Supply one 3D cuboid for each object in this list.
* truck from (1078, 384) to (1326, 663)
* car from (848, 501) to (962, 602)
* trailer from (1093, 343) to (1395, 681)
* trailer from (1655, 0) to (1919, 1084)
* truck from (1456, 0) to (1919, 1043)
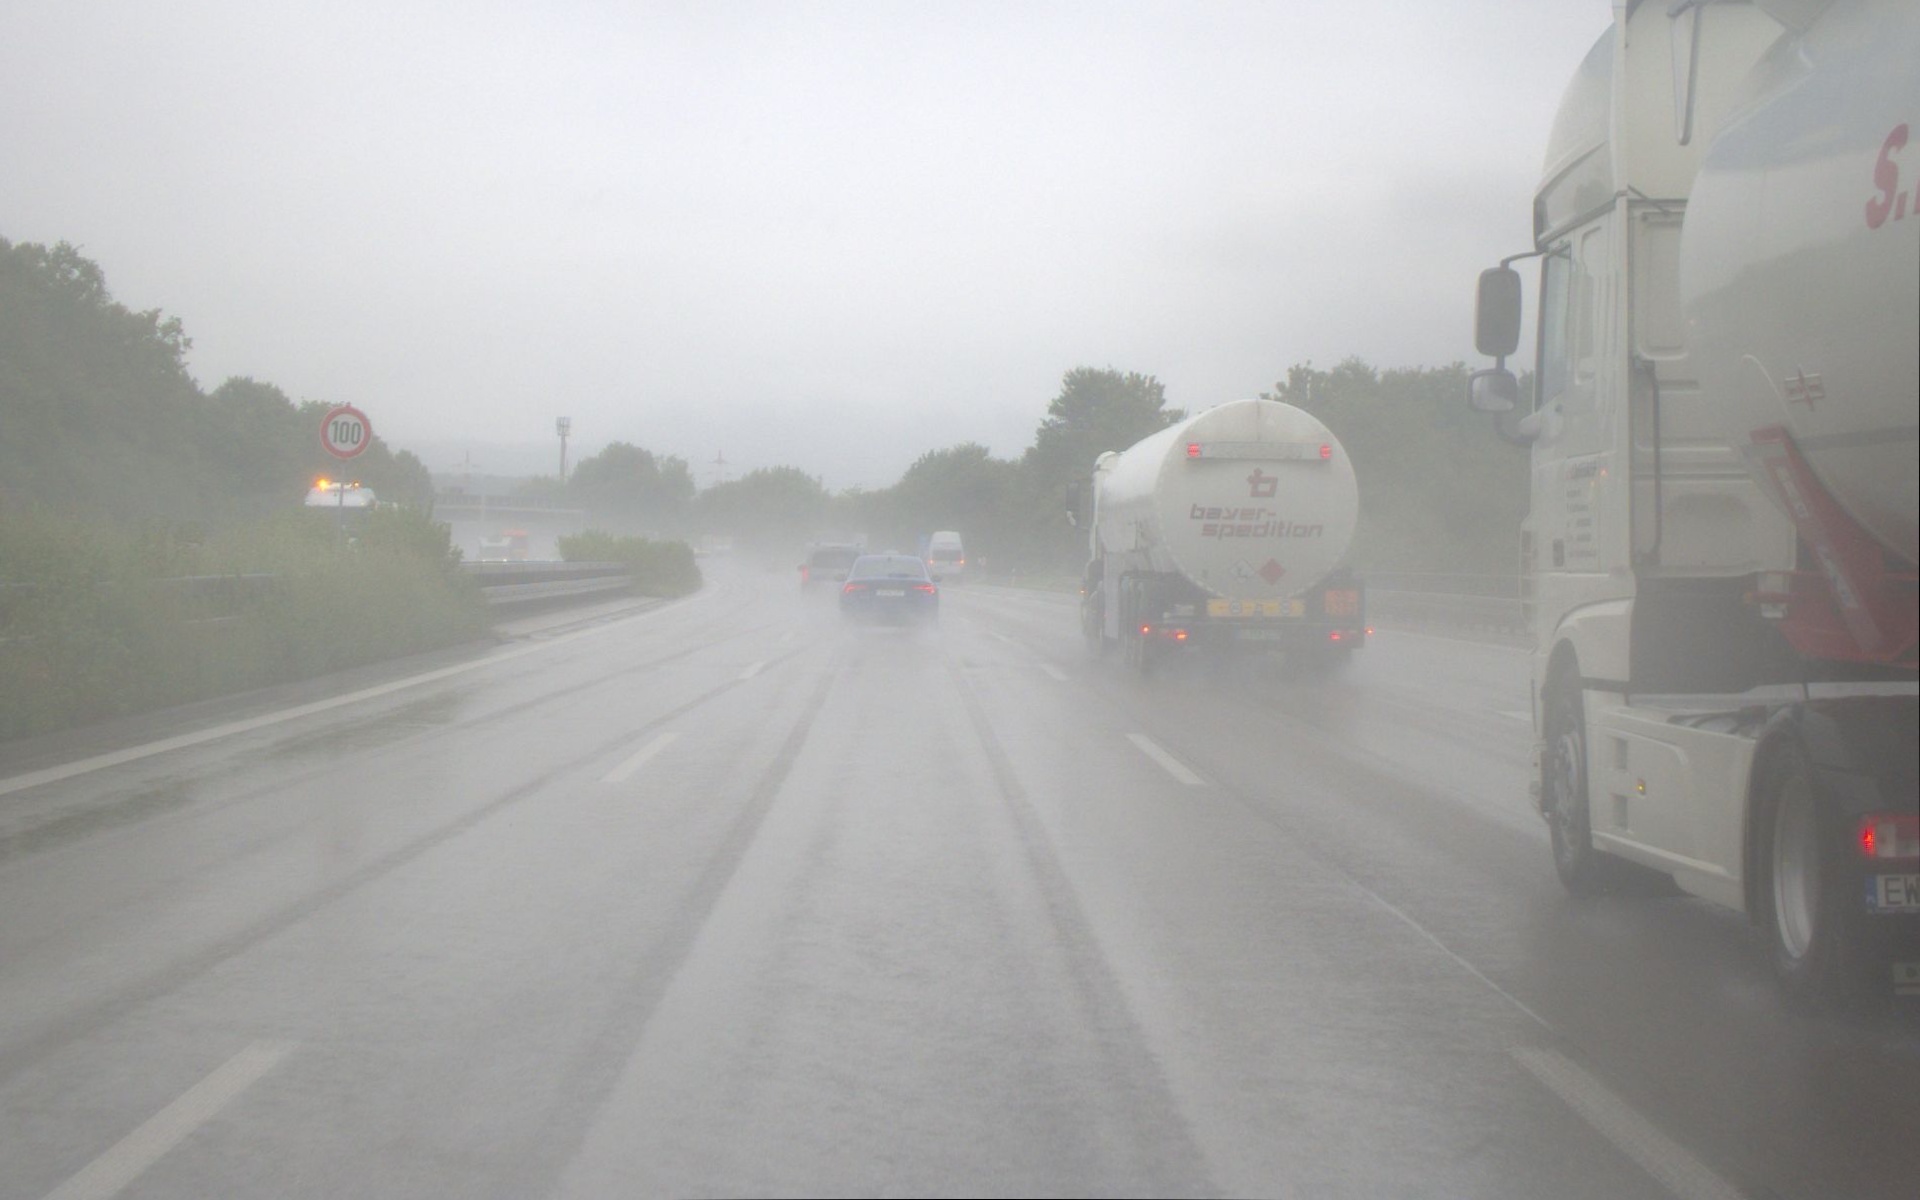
[{"bbox_3d":[3.331,-1.073,48.942,2.943,3.671,6.362,1,1,-1],"label":"truck"},{"bbox_3d":[-1.025,-0.915,62.206,1.978,1.750,4.482,0,2,-2],"label":"car"},{"bbox_3d":[3.419,-1.076,43.734,3.004,3.834,8.624,1,1,0],"label":"trailer"},{"bbox_3d":[4.152,-0.498,6.482,3.188,3.657,11.667,1,1,0],"label":"trailer"},{"bbox_3d":[4.090,-0.667,13.438,3.104,3.793,7.213,1,1,-1],"label":"truck"}]
